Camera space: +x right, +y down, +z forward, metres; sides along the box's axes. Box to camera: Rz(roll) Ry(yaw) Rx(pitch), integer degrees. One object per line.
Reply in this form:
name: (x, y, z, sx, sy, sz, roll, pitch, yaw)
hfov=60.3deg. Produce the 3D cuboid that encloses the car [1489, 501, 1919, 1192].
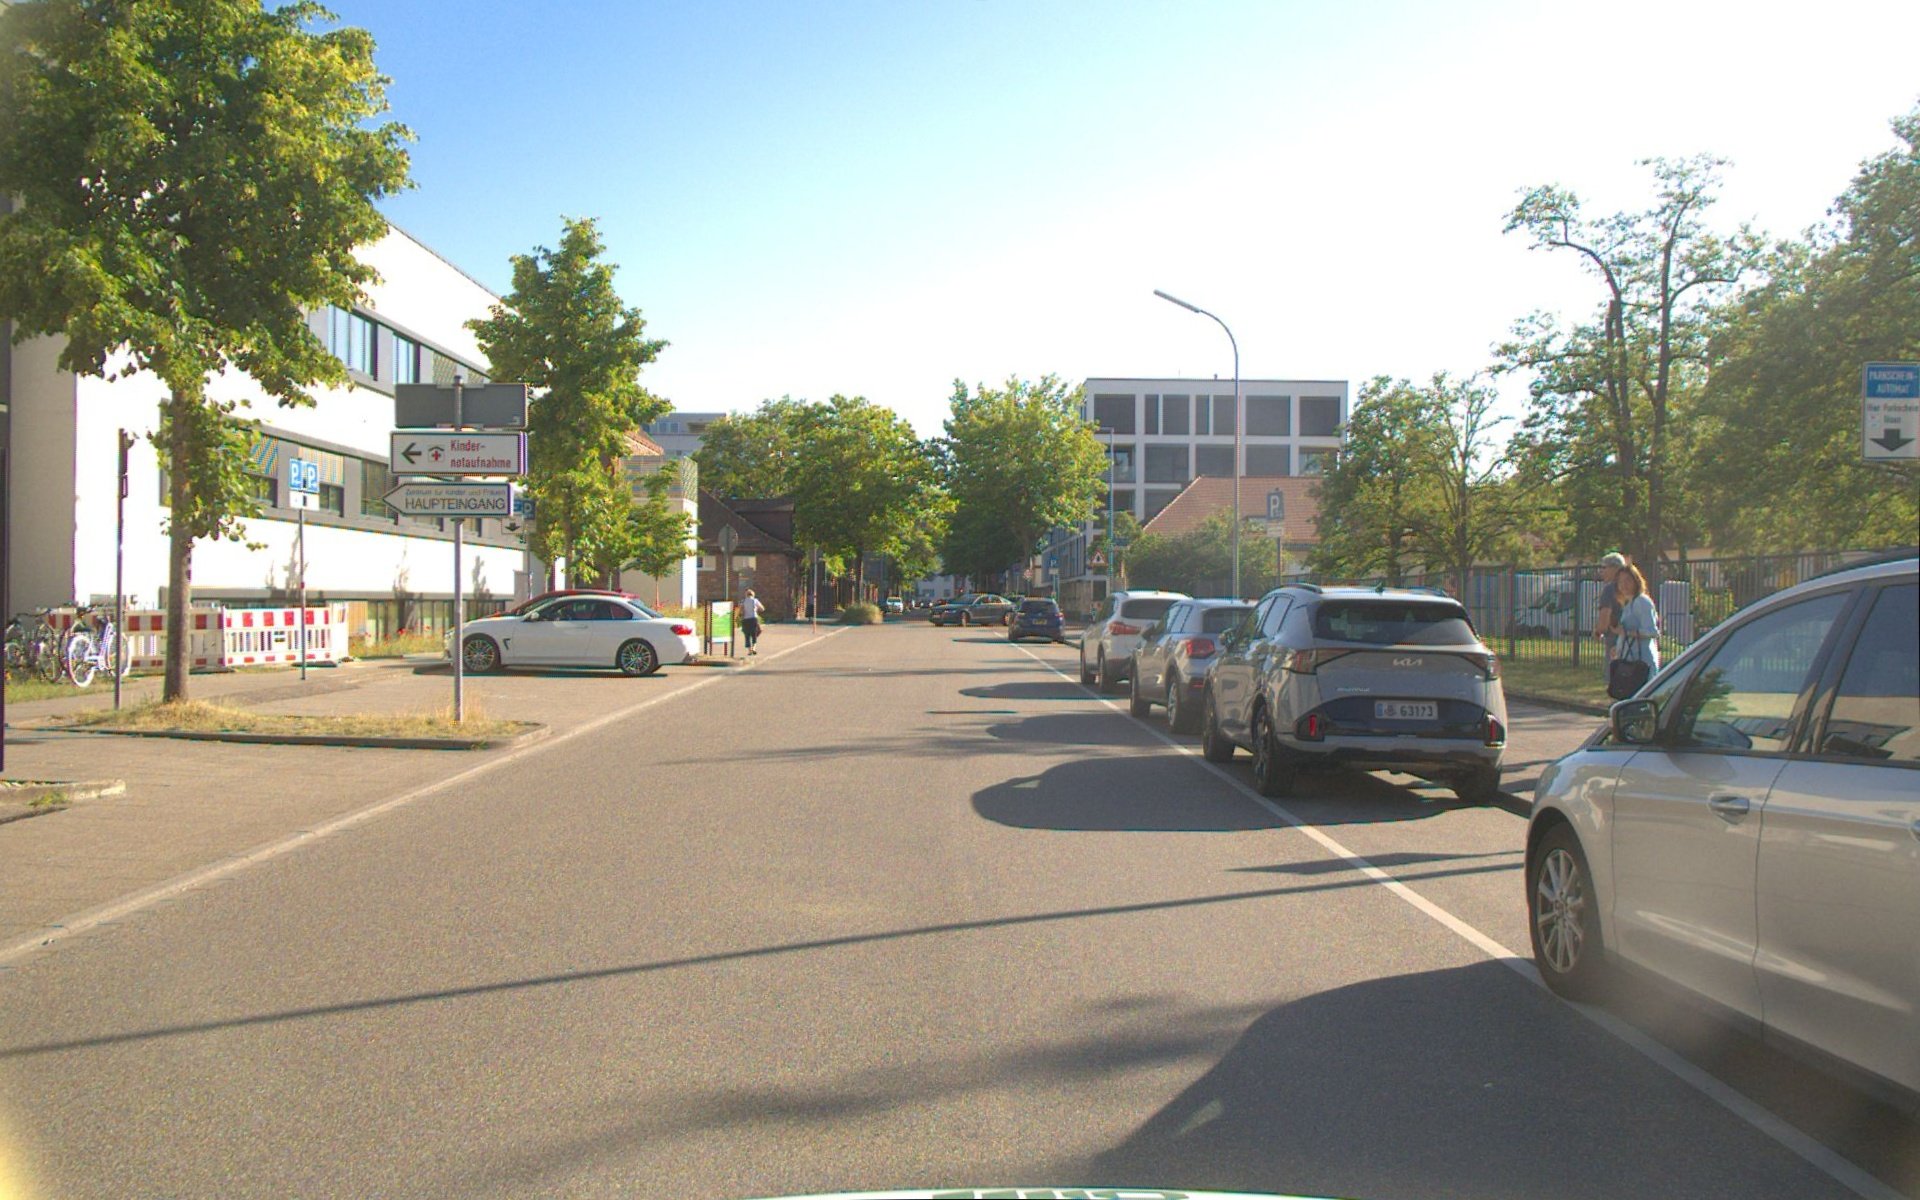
car: (3.315, 0.645, 4.986, 1.772, 1.752, 4.703, 2, 0, -2)

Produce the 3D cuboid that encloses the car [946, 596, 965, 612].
car: (-0.468, 0.390, 160.981, 1.731, 1.575, 4.064, 0, 0, -2)

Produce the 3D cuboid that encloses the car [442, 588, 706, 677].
car: (-6.936, 0.575, 30.086, 4.425, 1.391, 1.698, 3, 0, -6)

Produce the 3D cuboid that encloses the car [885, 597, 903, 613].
car: (-6.229, 0.453, 156.146, 1.731, 1.513, 3.998, 0, 0, -2)

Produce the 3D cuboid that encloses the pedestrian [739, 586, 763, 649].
pedestrian: (-5.241, 0.435, 41.488, 0.527, 1.550, 0.607, 0, 0, 0)

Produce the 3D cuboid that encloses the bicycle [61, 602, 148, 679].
bicycle: (-13.146, 0.602, 25.455, 0.411, 1.143, 1.764, 0, 0, 0)

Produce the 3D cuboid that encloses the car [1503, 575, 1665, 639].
car: (22.787, 0.241, 60.560, 5.173, 2.240, 2.001, 1, 1, 5)

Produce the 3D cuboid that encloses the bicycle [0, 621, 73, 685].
bicycle: (-13.507, 0.761, 24.128, 0.361, 0.878, 1.451, 0, 0, 0)

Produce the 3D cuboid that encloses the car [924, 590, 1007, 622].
car: (0.286, 0.259, 76.321, 1.730, 1.467, 4.527, 0, 0, 32)

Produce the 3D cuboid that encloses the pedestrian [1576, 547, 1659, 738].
pedestrian: (6.139, 0.392, 15.456, 0.511, 1.738, 0.522, 2, -1, -3)

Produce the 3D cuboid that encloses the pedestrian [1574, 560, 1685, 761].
pedestrian: (5.662, 0.505, 14.008, 0.667, 1.640, 0.540, 2, -1, -3)

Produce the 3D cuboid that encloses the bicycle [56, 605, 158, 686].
bicycle: (-12.509, 0.644, 24.312, 0.523, 1.131, 1.861, 0, 0, 0)

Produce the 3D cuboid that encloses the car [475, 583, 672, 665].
car: (-7.648, 0.460, 32.976, 3.563, 1.494, 1.613, 2, 1, -4)

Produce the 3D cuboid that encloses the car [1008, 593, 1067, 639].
car: (2.562, 0.498, 55.524, 1.780, 1.478, 4.214, 0, 0, 0)

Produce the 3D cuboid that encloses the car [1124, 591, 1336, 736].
car: (3.145, 0.686, 20.052, 1.667, 1.513, 3.978, 2, 0, -4)

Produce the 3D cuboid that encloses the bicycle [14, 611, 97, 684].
bicycle: (-13.021, 0.669, 23.837, 0.387, 1.006, 1.451, 0, 0, 0)

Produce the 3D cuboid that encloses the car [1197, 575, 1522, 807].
car: (3.216, 0.650, 14.193, 1.666, 1.634, 4.352, 2, 0, -1)

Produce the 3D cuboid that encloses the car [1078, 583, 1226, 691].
car: (3.124, 0.560, 27.767, 1.776, 1.616, 4.260, 2, 0, -3)

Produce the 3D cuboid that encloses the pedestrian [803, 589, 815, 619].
pedestrian: (-8.002, 0.210, 87.606, 0.511, 1.590, 1.095, 0, 0, -2)

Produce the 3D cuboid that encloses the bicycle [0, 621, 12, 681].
bicycle: (-14.465, 0.772, 24.279, 0.249, 0.888, 1.451, 0, 0, 0)
